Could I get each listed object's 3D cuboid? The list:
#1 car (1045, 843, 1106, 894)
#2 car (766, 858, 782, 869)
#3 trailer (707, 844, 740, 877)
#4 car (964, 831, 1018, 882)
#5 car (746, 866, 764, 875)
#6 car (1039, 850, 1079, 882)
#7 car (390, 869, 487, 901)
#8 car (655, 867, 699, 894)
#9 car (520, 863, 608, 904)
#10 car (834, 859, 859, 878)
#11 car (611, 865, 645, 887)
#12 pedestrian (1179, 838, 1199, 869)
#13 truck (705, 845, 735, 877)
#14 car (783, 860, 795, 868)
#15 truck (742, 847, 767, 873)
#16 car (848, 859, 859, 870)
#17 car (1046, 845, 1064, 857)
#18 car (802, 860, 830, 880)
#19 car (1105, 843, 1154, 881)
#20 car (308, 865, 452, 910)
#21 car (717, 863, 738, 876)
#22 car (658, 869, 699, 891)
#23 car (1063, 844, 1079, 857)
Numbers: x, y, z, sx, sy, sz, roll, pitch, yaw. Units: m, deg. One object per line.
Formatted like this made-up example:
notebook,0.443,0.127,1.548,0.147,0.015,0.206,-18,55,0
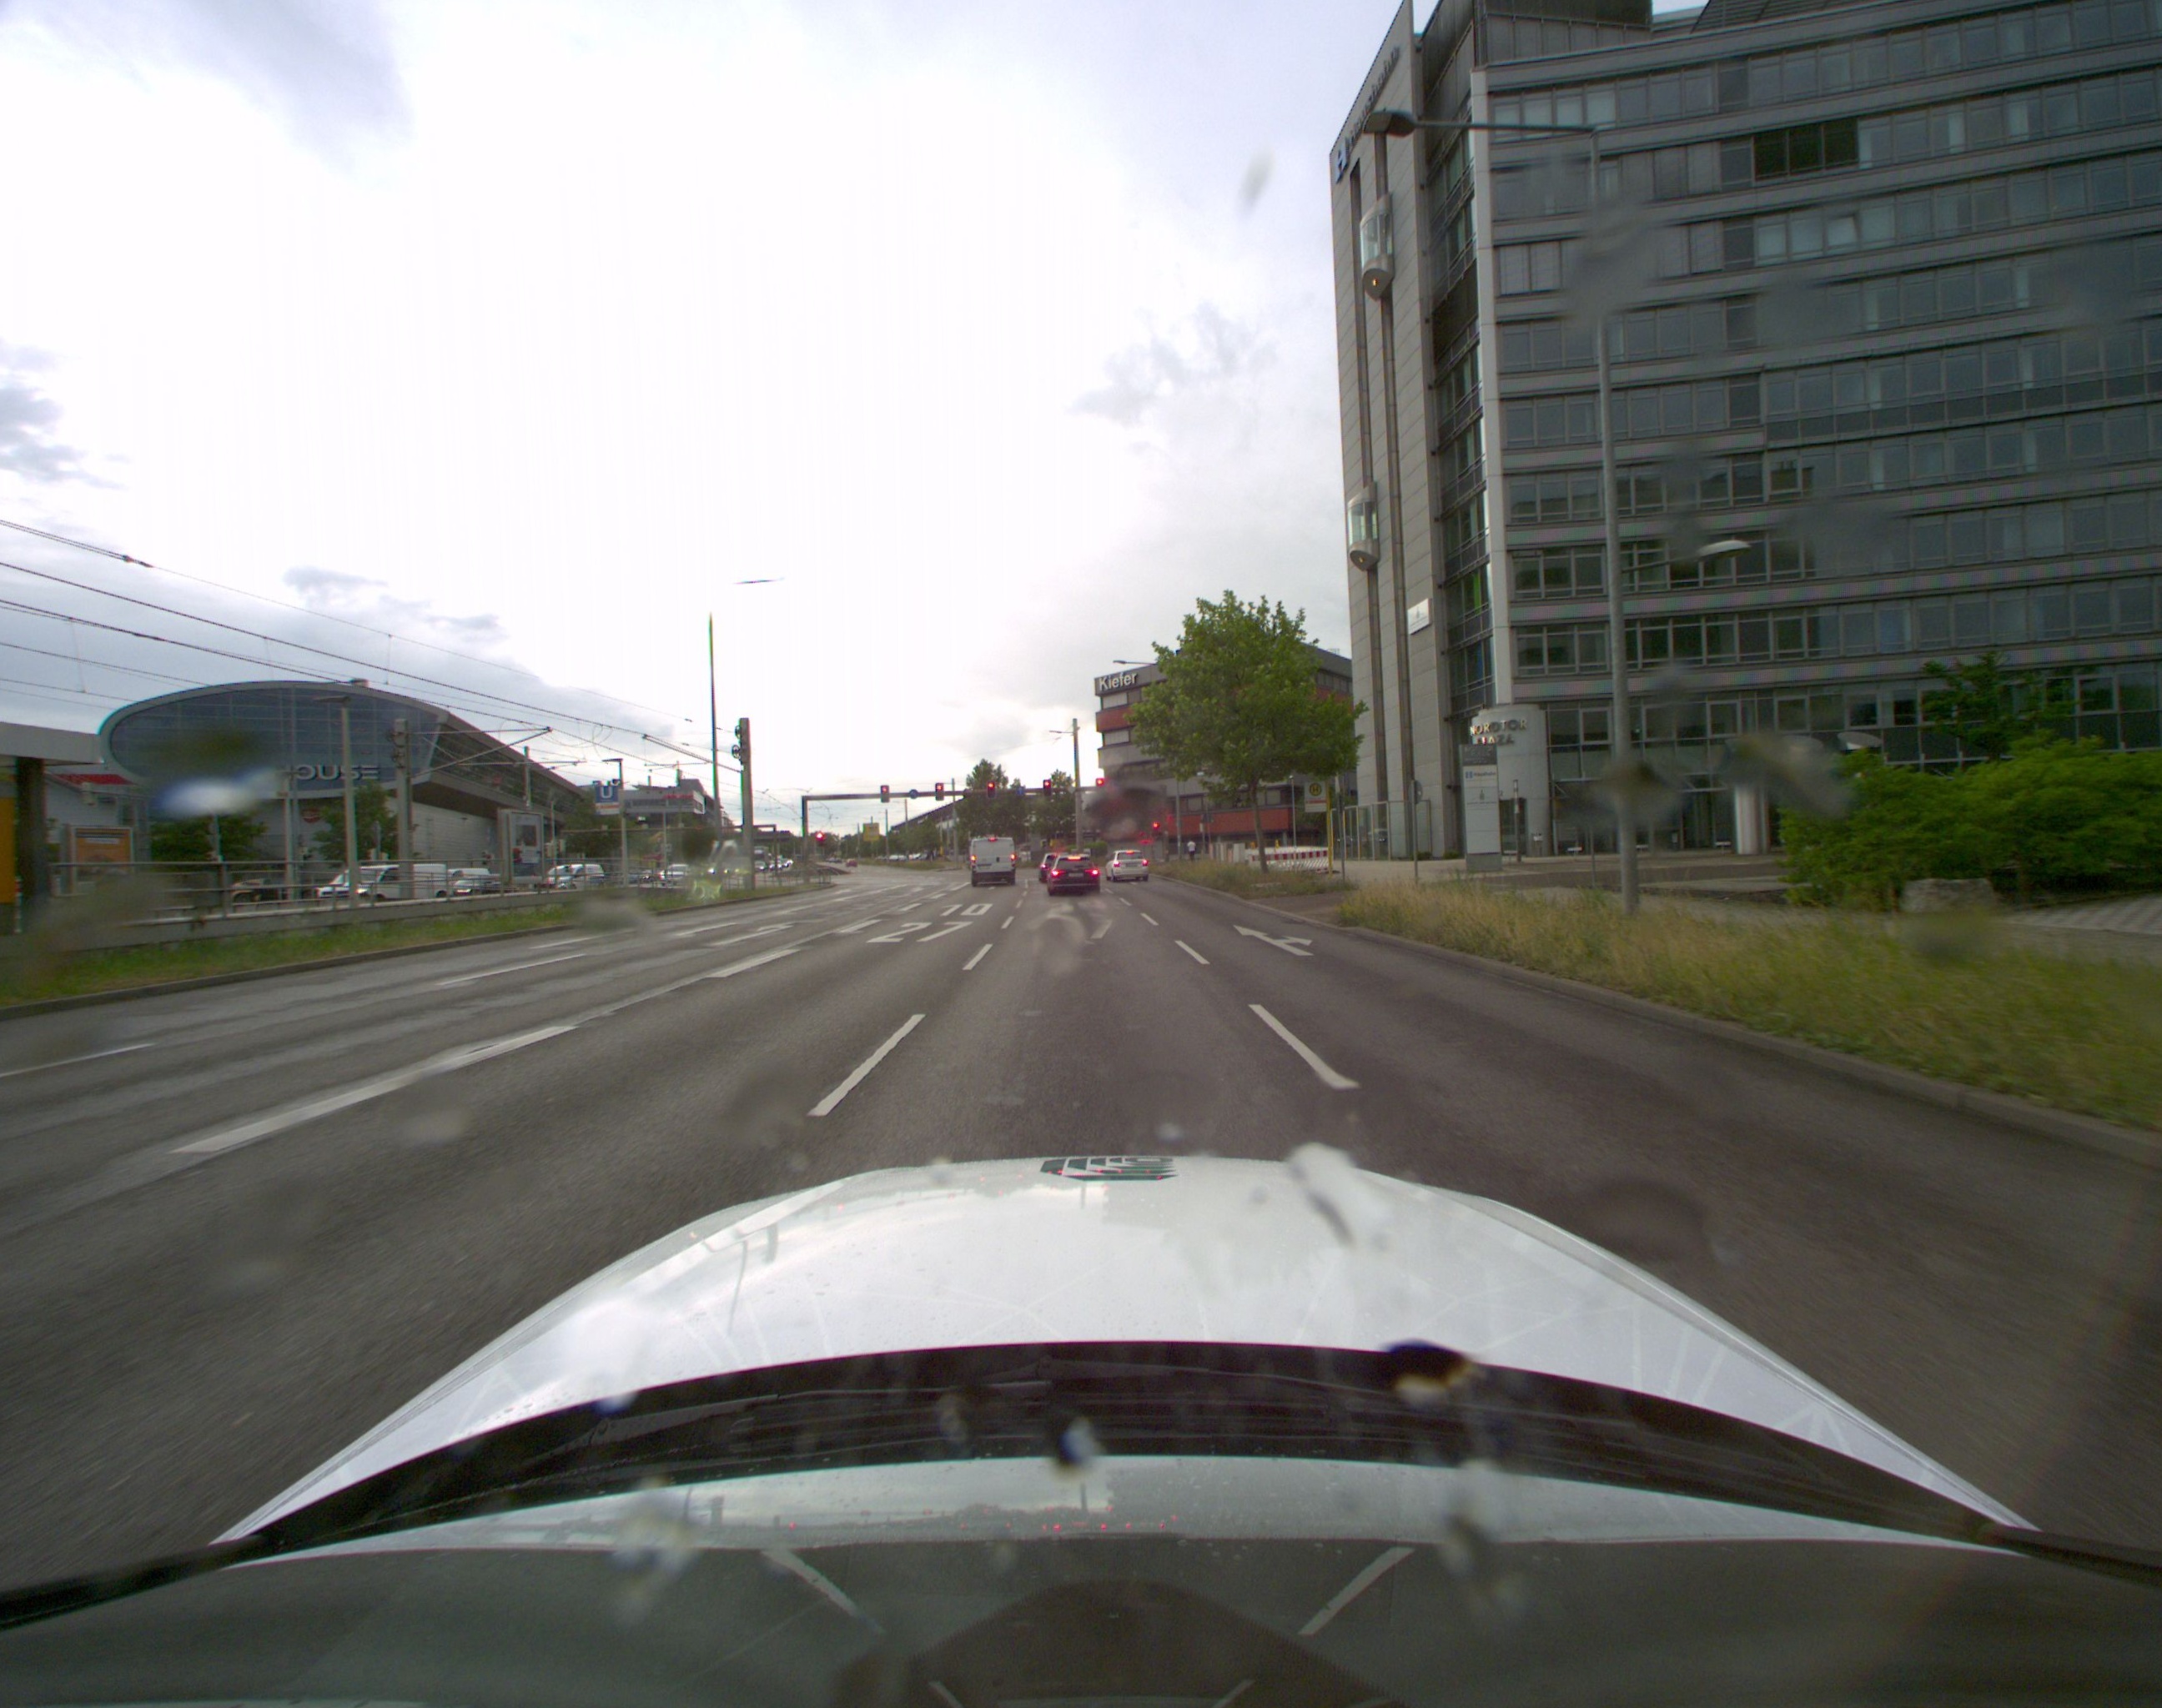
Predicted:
car,-0.258,0.526,29.408,1.989,1.637,3.996,-2,-1,-2
car,-50.417,1.557,133.692,1.889,1.652,4.076,0,-1,-14
trailer,-49.255,0.888,112.456,2.802,4.107,11.372,-3,1,-18
car,-4.441,0.158,39.693,2.444,2.294,4.890,0,-1,-8
car,-46.081,2.309,115.269,1.912,1.264,4.390,0,-1,-16
car,-1.098,0.618,41.219,1.888,1.465,3.907,-2,-1,-1
car,-35.998,1.696,45.842,2.102,1.700,4.655,0,-1,-6
car,-31.749,2.046,64.063,1.771,2.014,4.335,0,-1,-7
car,-29.451,1.639,46.594,1.989,2.214,5.137,0,-1,-4
car,-25.527,1.581,88.729,1.770,2.013,4.339,0,0,-6
car,-42.154,2.020,75.860,1.777,2.014,4.323,0,-1,-16
pedestrian,7.694,-0.018,57.962,1.141,2.125,1.221,-3,1,-3
truck,-47.734,0.898,107.713,2.839,3.996,5.951,-2,0,-18
car,-57.898,1.988,161.410,1.906,1.555,4.543,0,-1,-15
truck,-53.647,1.010,133.908,2.669,4.130,6.158,-3,-1,-13
car,-41.923,1.916,149.948,1.777,2.014,4.321,0,-1,-17
car,-4.496,-0.515,138.871,1.878,2.014,3.744,0,-1,-23
car,-27.177,1.621,83.658,1.770,2.013,4.339,0,0,-6
car,2.259,0.405,38.927,1.825,1.656,3.994,-1,-1,-4
car,-29.095,1.340,34.063,1.991,1.731,5.020,0,-1,-5
car,-41.719,1.844,96.224,1.743,1.462,4.128,0,-1,-17
car,-31.567,2.037,63.995,1.527,1.666,4.258,0,-1,-7
car,-1.647,-0.570,130.670,1.680,2.014,3.117,0,-1,-20
